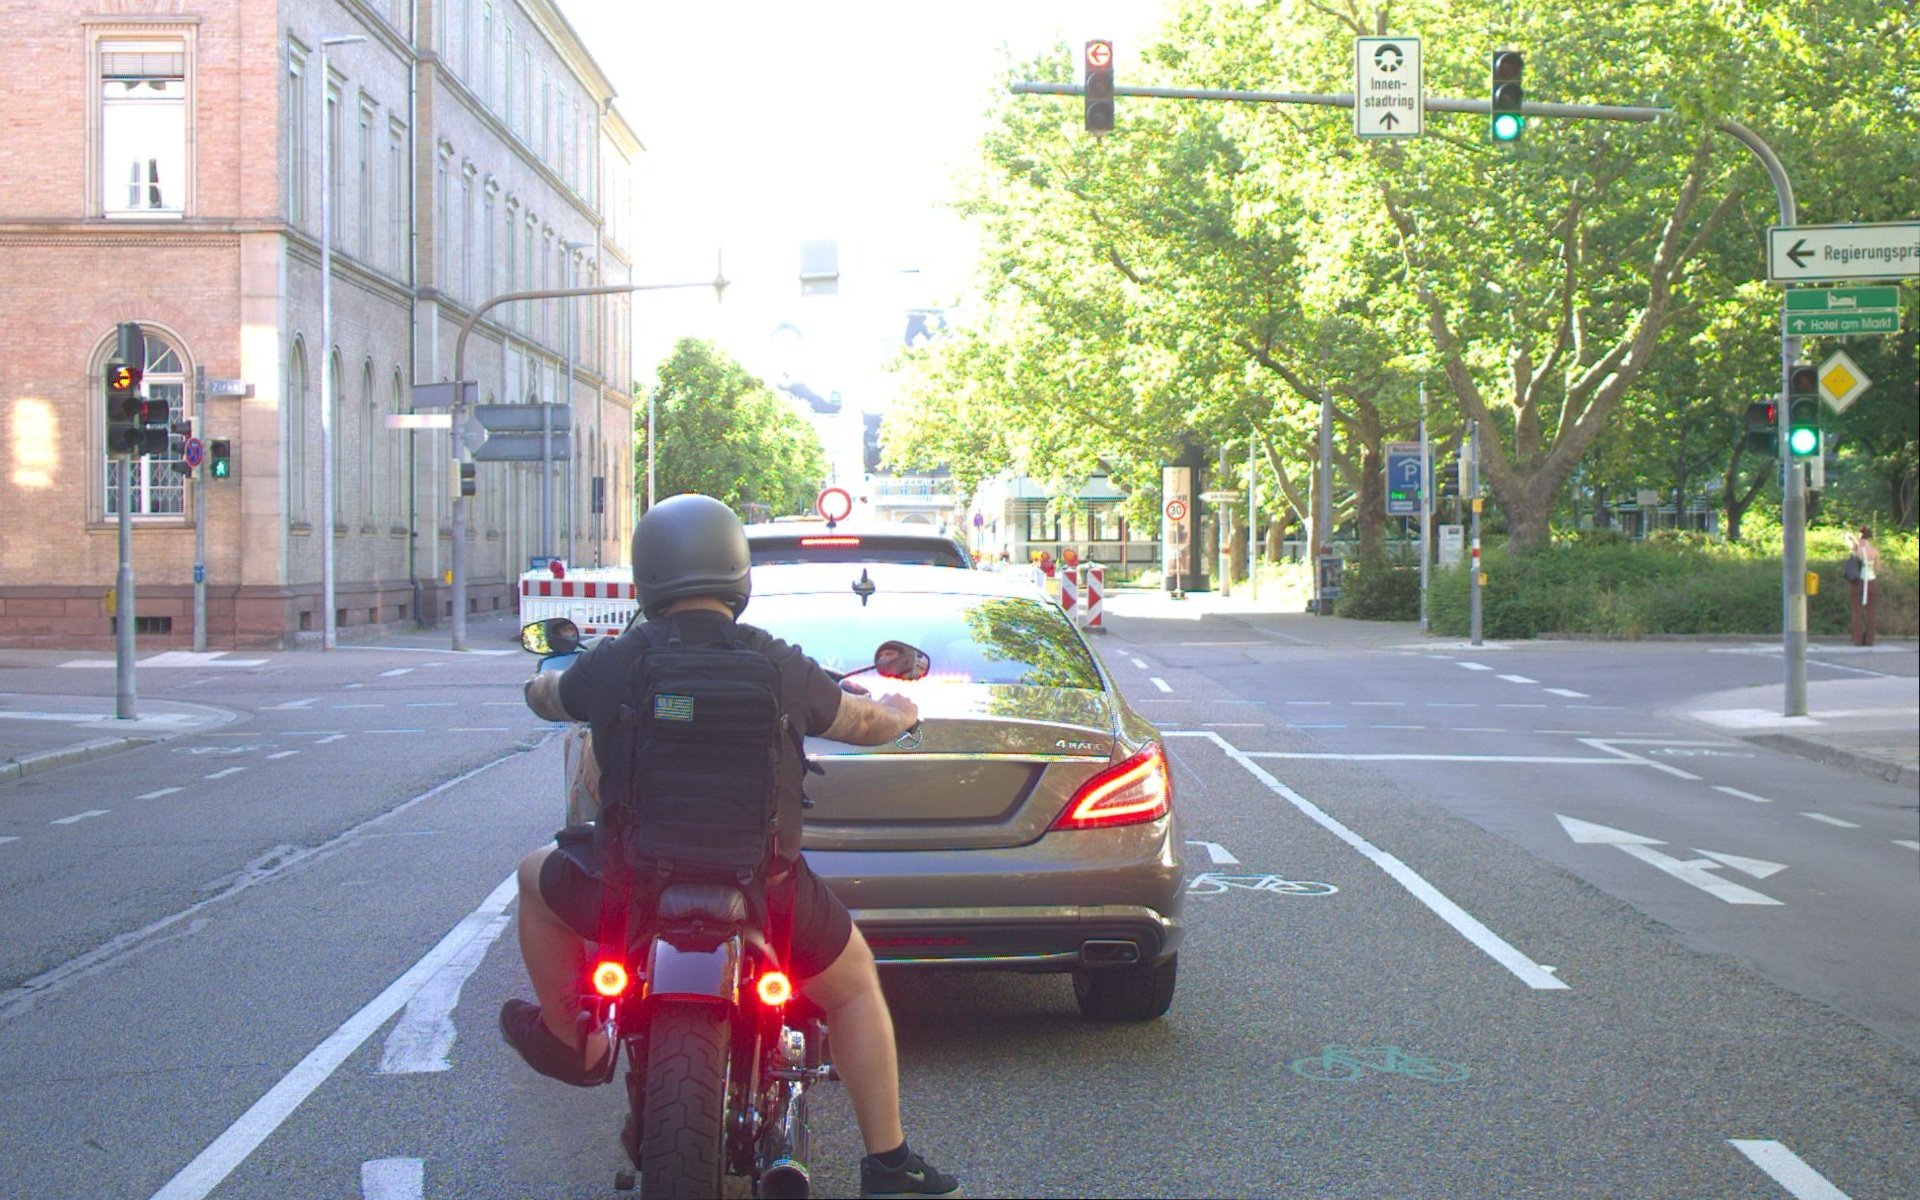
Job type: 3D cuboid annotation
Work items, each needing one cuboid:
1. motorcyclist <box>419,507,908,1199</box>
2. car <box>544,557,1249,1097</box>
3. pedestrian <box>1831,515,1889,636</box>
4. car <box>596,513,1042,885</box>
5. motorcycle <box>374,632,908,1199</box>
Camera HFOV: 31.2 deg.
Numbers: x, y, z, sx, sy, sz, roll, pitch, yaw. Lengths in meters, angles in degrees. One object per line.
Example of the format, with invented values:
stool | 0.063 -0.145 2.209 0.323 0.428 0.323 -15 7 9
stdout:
motorcyclist | -0.607 0.588 7.570 0.980 1.573 1.248 0 1 -1
car | -0.428 0.587 11.645 1.869 1.439 4.431 0 1 -8
pedestrian | 13.246 -0.360 50.597 0.678 1.766 0.616 1 0 29
car | -0.662 0.429 17.567 1.993 1.660 4.000 1 1 -1
motorcycle | -0.608 0.740 7.586 0.980 1.271 2.407 0 1 -1
